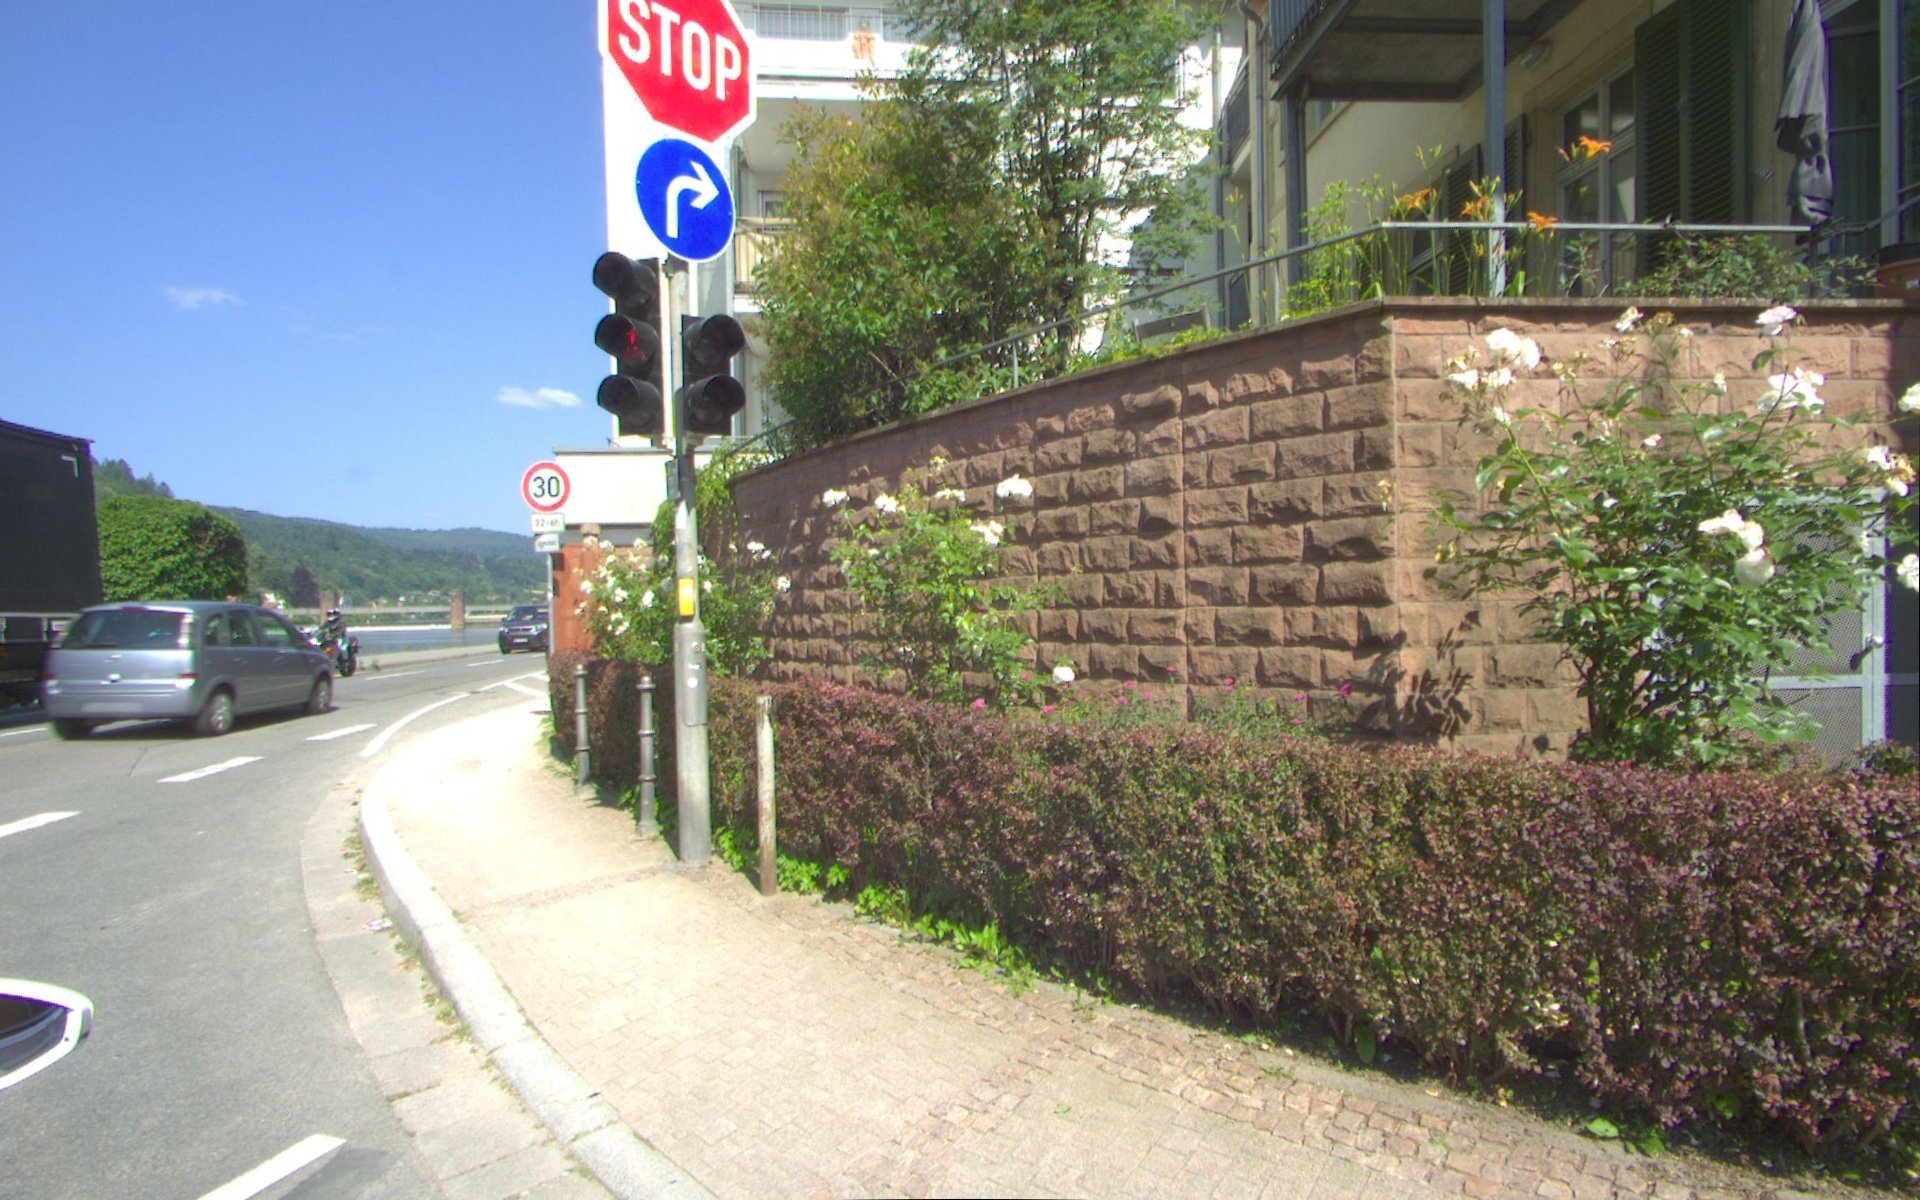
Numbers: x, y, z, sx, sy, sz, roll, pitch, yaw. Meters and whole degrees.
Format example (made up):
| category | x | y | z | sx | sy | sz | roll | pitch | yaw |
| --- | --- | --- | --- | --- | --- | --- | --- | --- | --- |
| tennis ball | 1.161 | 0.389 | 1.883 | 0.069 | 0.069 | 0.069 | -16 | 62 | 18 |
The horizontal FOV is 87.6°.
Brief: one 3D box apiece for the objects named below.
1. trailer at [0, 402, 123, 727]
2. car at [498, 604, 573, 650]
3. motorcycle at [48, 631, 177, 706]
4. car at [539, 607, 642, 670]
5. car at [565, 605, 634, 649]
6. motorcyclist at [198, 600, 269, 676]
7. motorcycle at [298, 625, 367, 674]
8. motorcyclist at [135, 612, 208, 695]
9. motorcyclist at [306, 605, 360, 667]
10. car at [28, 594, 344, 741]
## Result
| category | x | y | z | sx | sy | sz | roll | pitch | yaw |
| --- | --- | --- | --- | --- | --- | --- | --- | --- | --- |
| trailer | -13.021 | -0.434 | 7.837 | 2.788 | 4.158 | 13.765 | -3 | 0 | -7 |
| car | -16.522 | 1.021 | 39.123 | 1.739 | 1.691 | 3.772 | 0 | 0 | -8 |
| motorcycle | -14.481 | 1.140 | 17.196 | 0.623 | 1.138 | 2.092 | -3 | 0 | -9 |
| car | -8.934 | 0.894 | 24.489 | 1.661 | 1.417 | 3.737 | 0 | -1 | -9 |
| car | -13.239 | 0.956 | 36.960 | 1.695 | 1.518 | 3.878 | -1 | 0 | -9 |
| motorcyclist | -13.669 | 0.710 | 18.861 | 0.774 | 1.384 | 0.800 | -1 | 0 | -8 |
| motorcycle | -14.531 | 1.123 | 23.234 | 0.646 | 1.038 | 1.814 | -1 | 0 | -8 |
| motorcyclist | -15.340 | 1.022 | 19.499 | 0.653 | 1.545 | 0.991 | -3 | 1 | -10 |
| motorcyclist | -14.499 | 0.819 | 23.166 | 0.706 | 1.384 | 0.936 | -1 | 0 | -8 |
| car | -9.753 | 0.771 | 13.030 | 1.661 | 1.632 | 3.737 | 0 | -1 | -9 |
